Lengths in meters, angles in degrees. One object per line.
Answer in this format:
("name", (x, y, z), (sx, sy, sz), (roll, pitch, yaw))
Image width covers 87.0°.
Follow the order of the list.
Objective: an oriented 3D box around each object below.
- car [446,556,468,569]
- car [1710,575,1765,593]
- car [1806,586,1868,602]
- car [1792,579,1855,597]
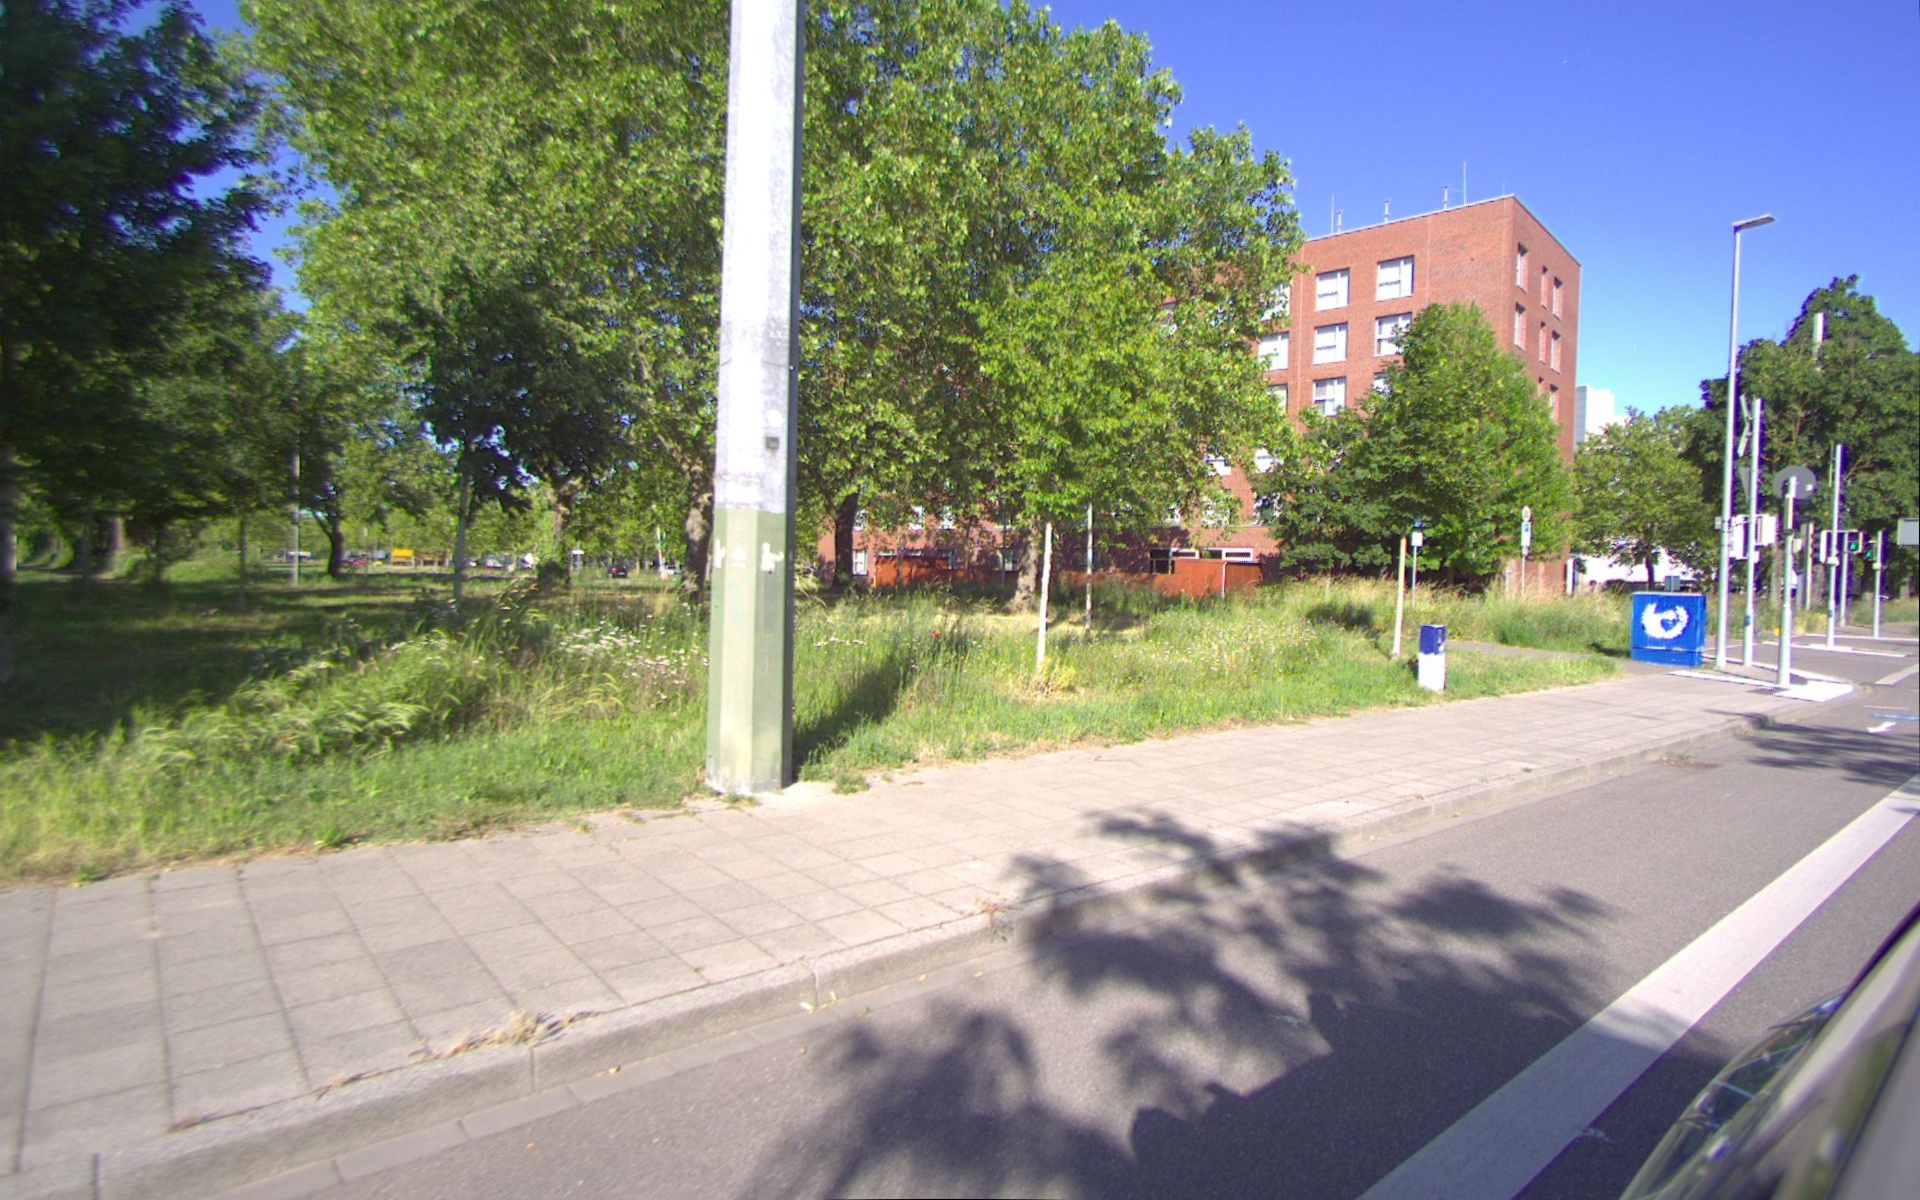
("car", (-64.143, -4.771, 129.025), (1.927, 1.550, 4.002), (1, 2, -34))
("car", (92.079, -1.925, 119.858), (1.937, 1.974, 4.765), (1, 2, -36))
("car", (84.958, -0.571, 98.121), (1.789, 1.449, 4.182), (0, 2, -33))
("car", (78.669, -1.075, 92.226), (1.705, 1.524, 4.044), (0, 2, -35))
